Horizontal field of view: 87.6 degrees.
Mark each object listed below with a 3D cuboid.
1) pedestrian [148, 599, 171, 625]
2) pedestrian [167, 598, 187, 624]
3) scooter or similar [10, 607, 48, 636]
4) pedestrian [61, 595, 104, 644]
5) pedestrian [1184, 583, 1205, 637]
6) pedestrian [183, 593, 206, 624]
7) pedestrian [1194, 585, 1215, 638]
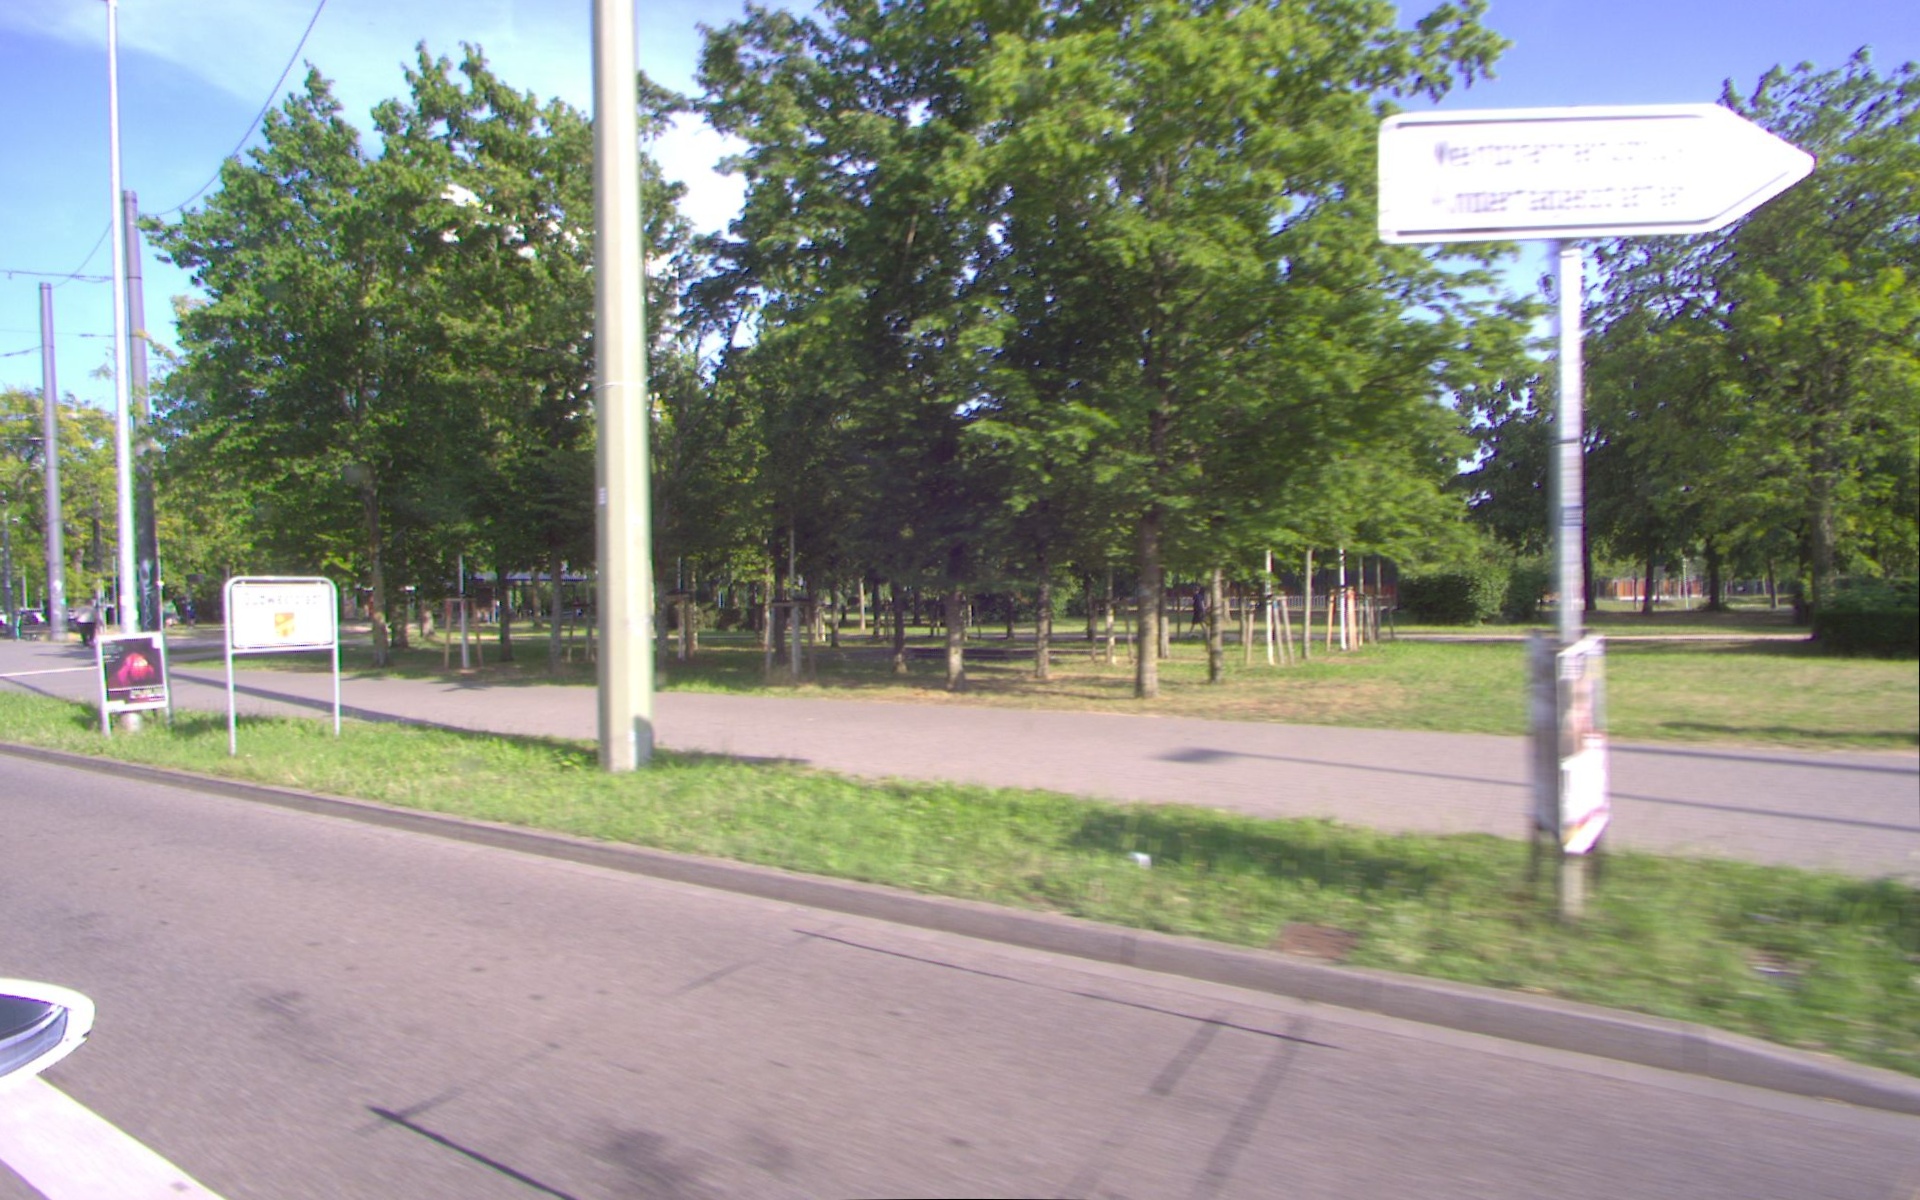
[{"bbox_3d":[-47.113,0.678,58.929,0.687,1.508,0.815,-1,1,-9],"label":"pedestrian"},{"bbox_3d":[-46.072,0.623,58.916,0.805,1.508,0.696,-2,1,-33],"label":"pedestrian"},{"bbox_3d":[-37.534,0.863,40.375,1.305,1.132,0.420,-1,1,12],"label":"scooter or similar"},{"bbox_3d":[-29.845,0.659,34.069,0.793,1.659,0.754,-1,1,-7],"label":"pedestrian"},{"bbox_3d":[8.125,0.351,34.689,0.617,1.836,0.502,-1,1,6],"label":"pedestrian"},{"bbox_3d":[-46.342,0.514,60.646,0.826,1.809,0.799,0,1,28],"label":"pedestrian"},{"bbox_3d":[8.666,0.397,35.456,0.617,1.836,0.502,-1,1,3],"label":"pedestrian"}]
